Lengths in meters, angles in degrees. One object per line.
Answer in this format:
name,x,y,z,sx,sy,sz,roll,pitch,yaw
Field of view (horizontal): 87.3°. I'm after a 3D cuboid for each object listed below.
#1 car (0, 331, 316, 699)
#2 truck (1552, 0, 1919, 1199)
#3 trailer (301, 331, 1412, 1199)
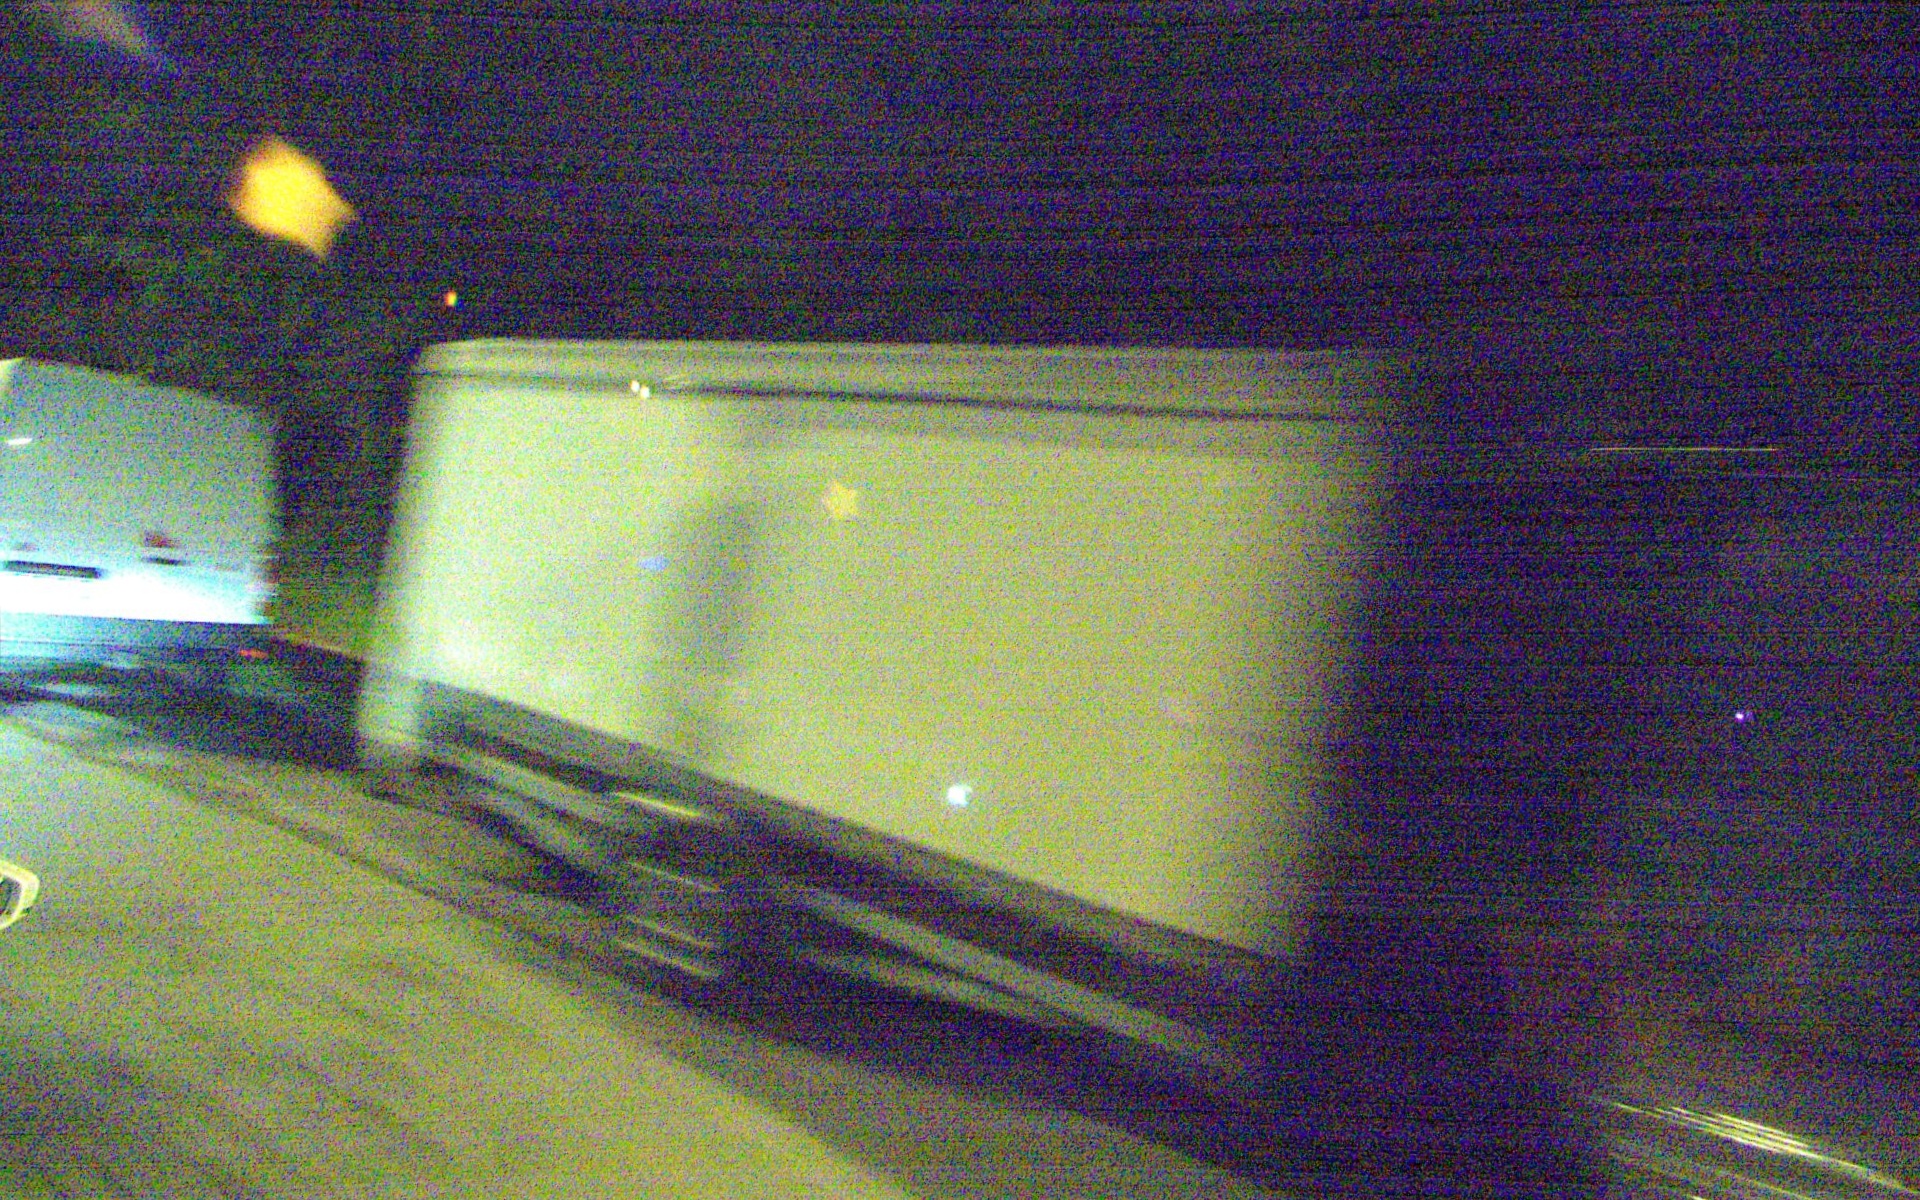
car,-8.876,-0.839,9.515,6.268,2.546,2.111,7,-1,33
truck,5.922,0.313,0.609,9.170,3.914,3.330,7,-1,31
trailer,-0.802,0.304,4.734,4.943,2.503,1.635,7,0,31
